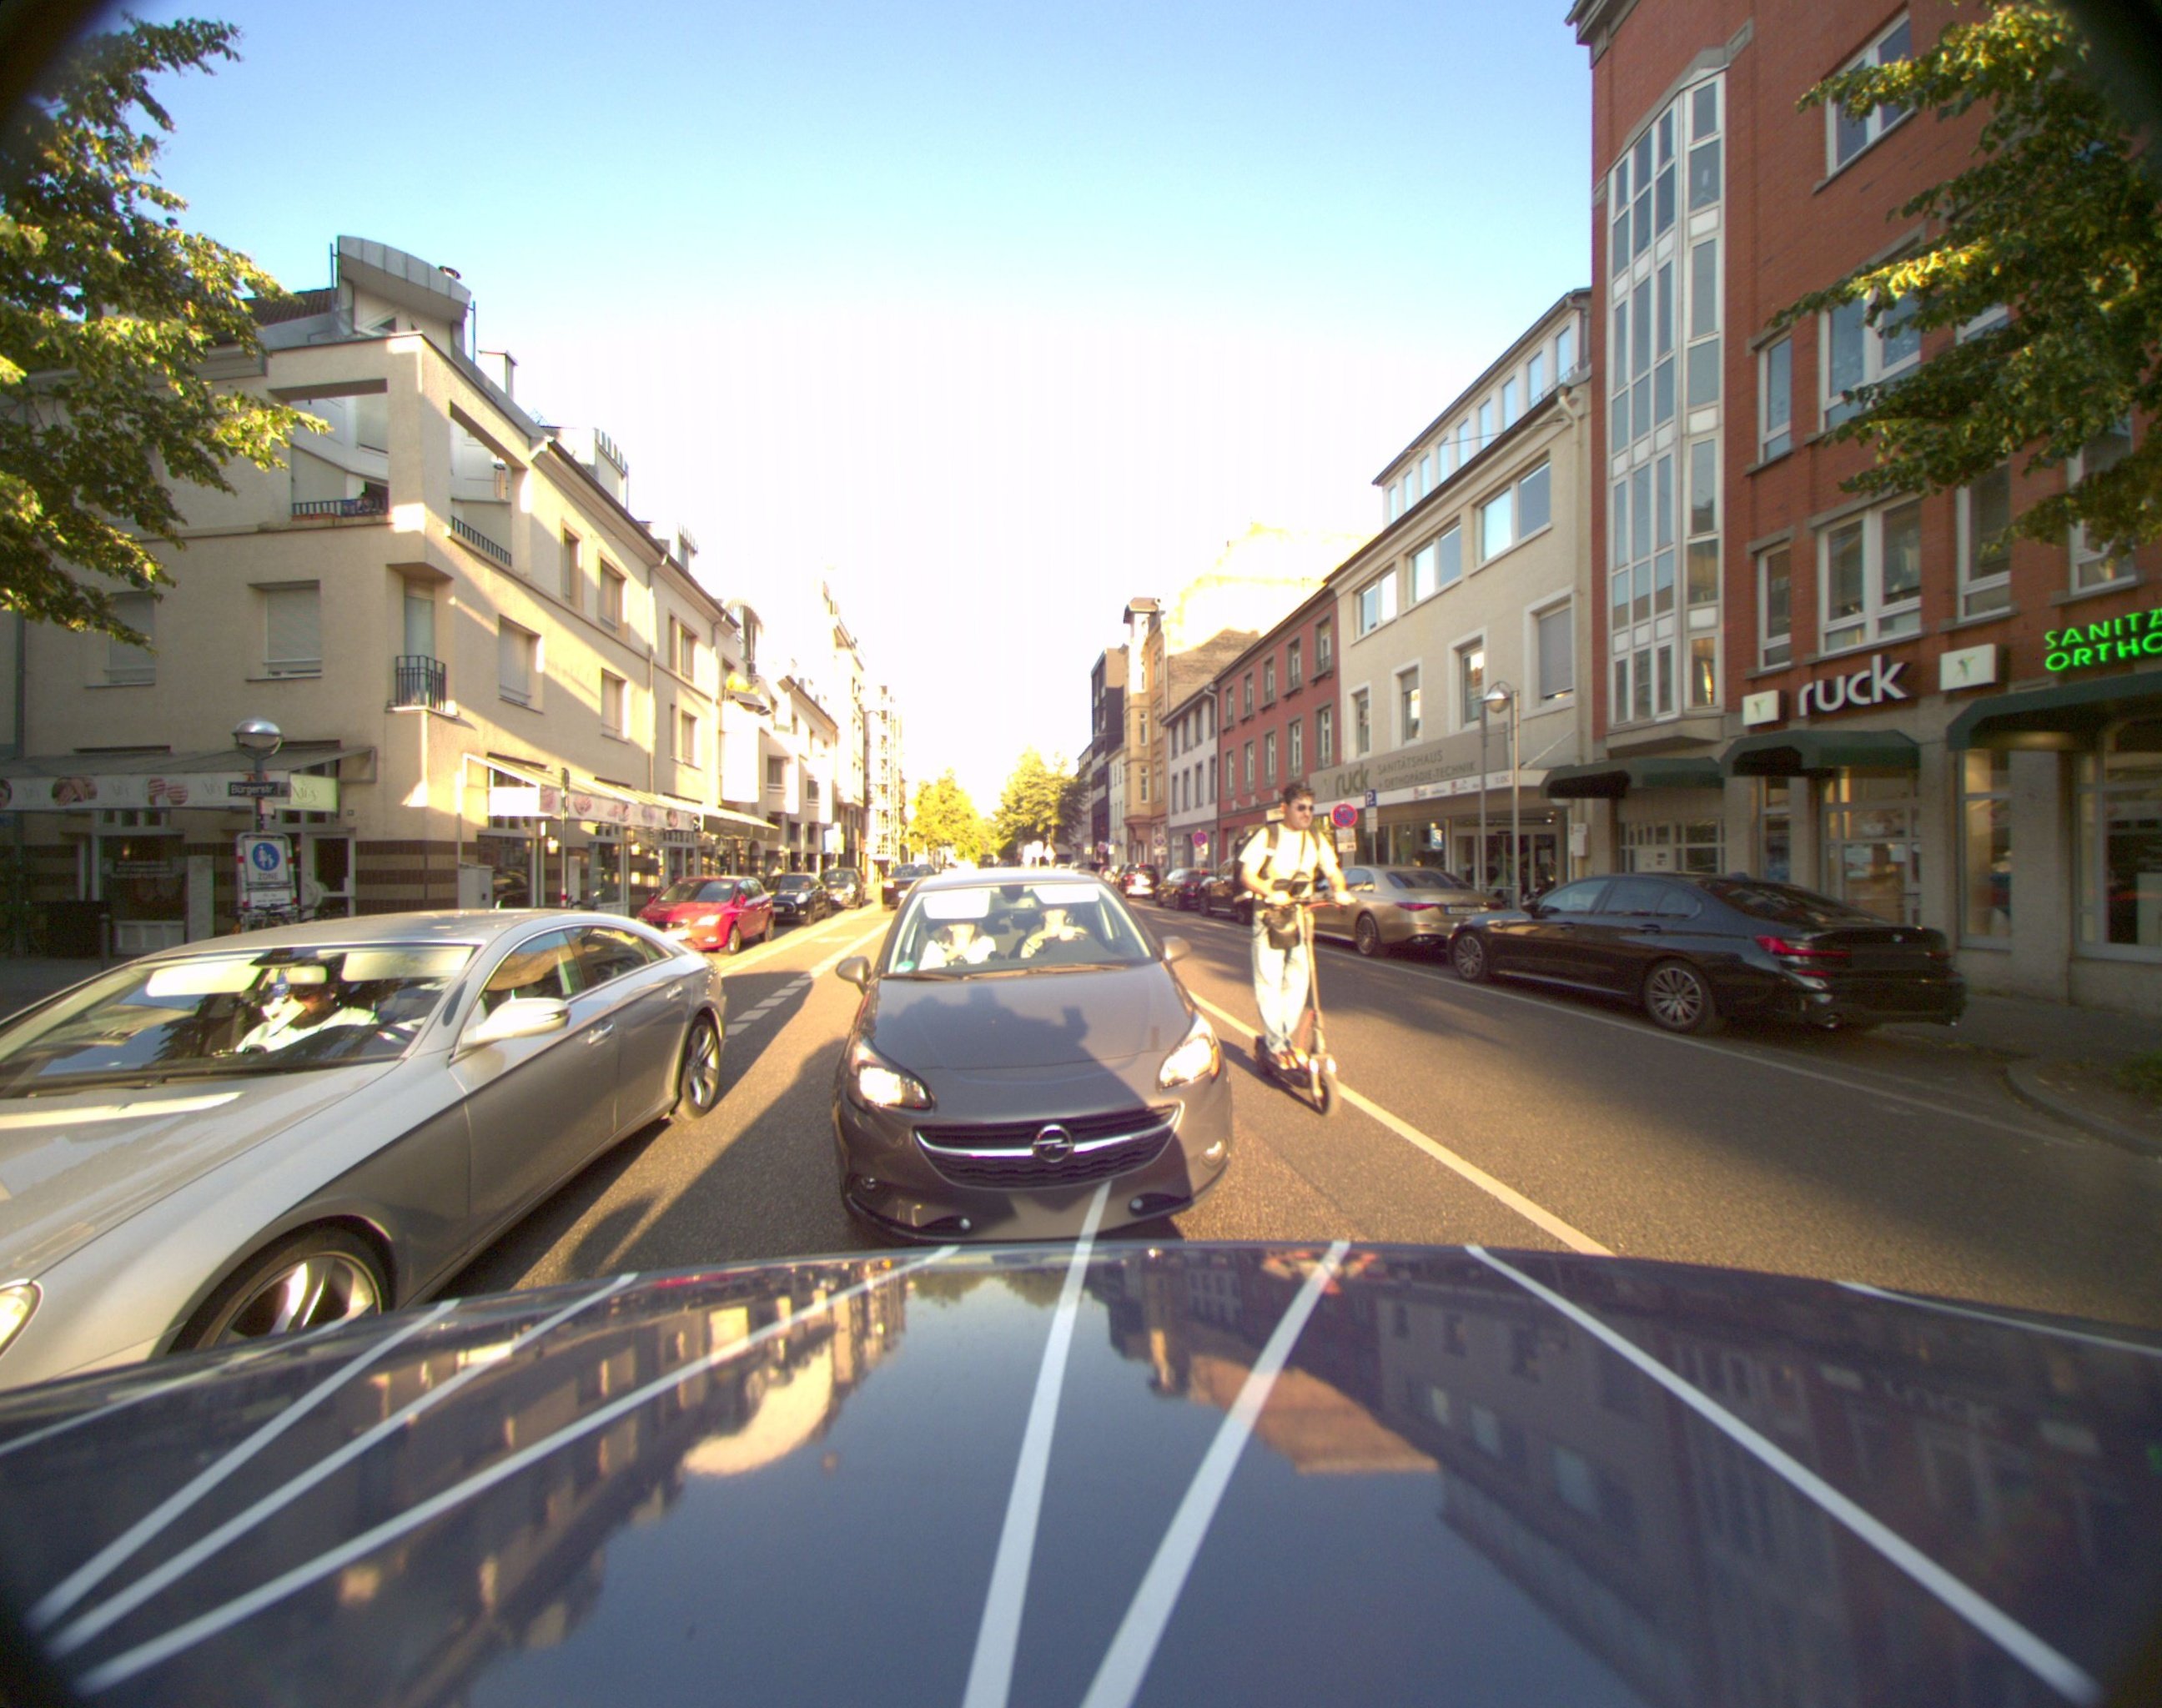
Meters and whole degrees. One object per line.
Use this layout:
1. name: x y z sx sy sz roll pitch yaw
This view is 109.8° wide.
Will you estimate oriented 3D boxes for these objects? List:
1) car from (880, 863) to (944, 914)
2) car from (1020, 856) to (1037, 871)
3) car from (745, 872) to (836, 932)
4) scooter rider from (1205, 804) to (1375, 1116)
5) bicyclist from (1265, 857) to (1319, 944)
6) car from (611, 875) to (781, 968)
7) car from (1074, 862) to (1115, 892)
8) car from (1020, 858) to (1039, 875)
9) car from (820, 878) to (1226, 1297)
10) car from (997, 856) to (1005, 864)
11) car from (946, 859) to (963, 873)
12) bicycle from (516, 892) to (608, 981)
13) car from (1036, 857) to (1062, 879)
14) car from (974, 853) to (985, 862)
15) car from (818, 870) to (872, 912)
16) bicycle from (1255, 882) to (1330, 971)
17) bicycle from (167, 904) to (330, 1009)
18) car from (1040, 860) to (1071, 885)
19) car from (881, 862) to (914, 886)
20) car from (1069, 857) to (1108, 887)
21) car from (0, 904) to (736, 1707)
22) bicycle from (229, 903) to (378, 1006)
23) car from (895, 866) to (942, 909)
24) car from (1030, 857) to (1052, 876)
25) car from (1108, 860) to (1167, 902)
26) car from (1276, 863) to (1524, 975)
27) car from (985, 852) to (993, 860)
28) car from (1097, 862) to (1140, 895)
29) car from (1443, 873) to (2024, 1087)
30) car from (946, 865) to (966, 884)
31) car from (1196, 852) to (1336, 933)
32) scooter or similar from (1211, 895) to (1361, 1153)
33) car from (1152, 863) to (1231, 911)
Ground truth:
1. car: -5.946 1.156 27.089 1.897 1.632 3.747 -1 0 -8
2. car: -6.266 1.134 90.233 1.766 1.762 3.870 0 0 -7
3. car: -8.078 1.280 21.422 1.615 1.386 3.692 -2 0 -9
4. scooter rider: 1.287 0.620 4.836 0.813 1.797 0.788 -2 1 0
5. bicyclist: 3.310 0.715 11.954 0.569 1.295 0.660 -2 1 -9
6. car: -7.244 1.190 14.764 1.654 1.420 3.998 -2 0 -8
7. car: 0.718 1.285 43.795 1.792 1.504 3.775 -1 1 -8
8. car: -5.450 1.318 80.628 1.788 1.762 3.870 0 0 -7
9. car: -0.536 0.946 4.899 1.588 1.445 3.839 -1 0 -10
10. car: -21.085 1.571 199.366 1.846 1.796 3.582 -2 1 -2
11. car: -14.996 1.376 90.039 1.766 1.622 3.870 0 0 -7
12. bicycle: -8.206 1.259 12.087 0.505 1.230 1.711 0 0 -8
13. car: -2.639 1.119 61.590 1.766 1.762 3.870 0 0 -7
14. car: -19.358 0.655 145.130 1.616 1.463 3.225 -2 1 -2
15. car: -8.911 1.354 28.908 1.432 1.442 3.378 -1 0 -8
16. bicycle: 3.310 1.095 12.043 0.421 1.230 1.693 -2 1 -10
17. bicycle: -11.082 1.307 10.217 0.332 1.123 2.010 -1 1 -11
18. car: -1.873 1.291 54.858 1.796 1.606 3.970 -2 1 -7
19. car: -12.492 1.324 51.810 1.766 1.563 3.870 0 0 -7
20. car: 0.418 1.107 48.019 1.882 1.667 4.034 -2 1 -8
21. car: -3.057 1.069 2.936 1.791 1.361 4.570 -2 0 -7
22. bicycle: -10.478 1.302 10.336 0.332 1.123 2.010 0 0 -11
23. car: -6.730 1.329 31.735 1.692 1.534 3.728 -2 1 -9
24. car: -3.810 1.170 72.139 1.766 1.762 3.870 0 0 -7
25. car: 2.521 1.193 34.903 1.877 1.718 4.137 -1 0 -8
26. car: 5.262 0.970 13.459 1.896 1.590 4.942 0 0 -6
27. car: -19.373 0.374 160.206 1.673 1.630 3.253 -2 1 -7
28. car: 1.944 1.249 40.030 1.686 1.580 3.514 -1 1 -7
29. car: 5.906 0.966 7.790 1.805 1.385 4.414 -1 1 -9
30. car: -11.802 1.888 71.993 1.693 1.644 3.731 -2 1 -8
31. car: 4.732 0.939 20.329 1.974 1.873 4.944 -1 -1 -8
32. scooter or similar: 1.275 0.984 5.039 0.545 1.342 1.669 -1 0 1
33. car: 3.736 1.076 26.362 1.737 1.515 3.840 0 0 -7
